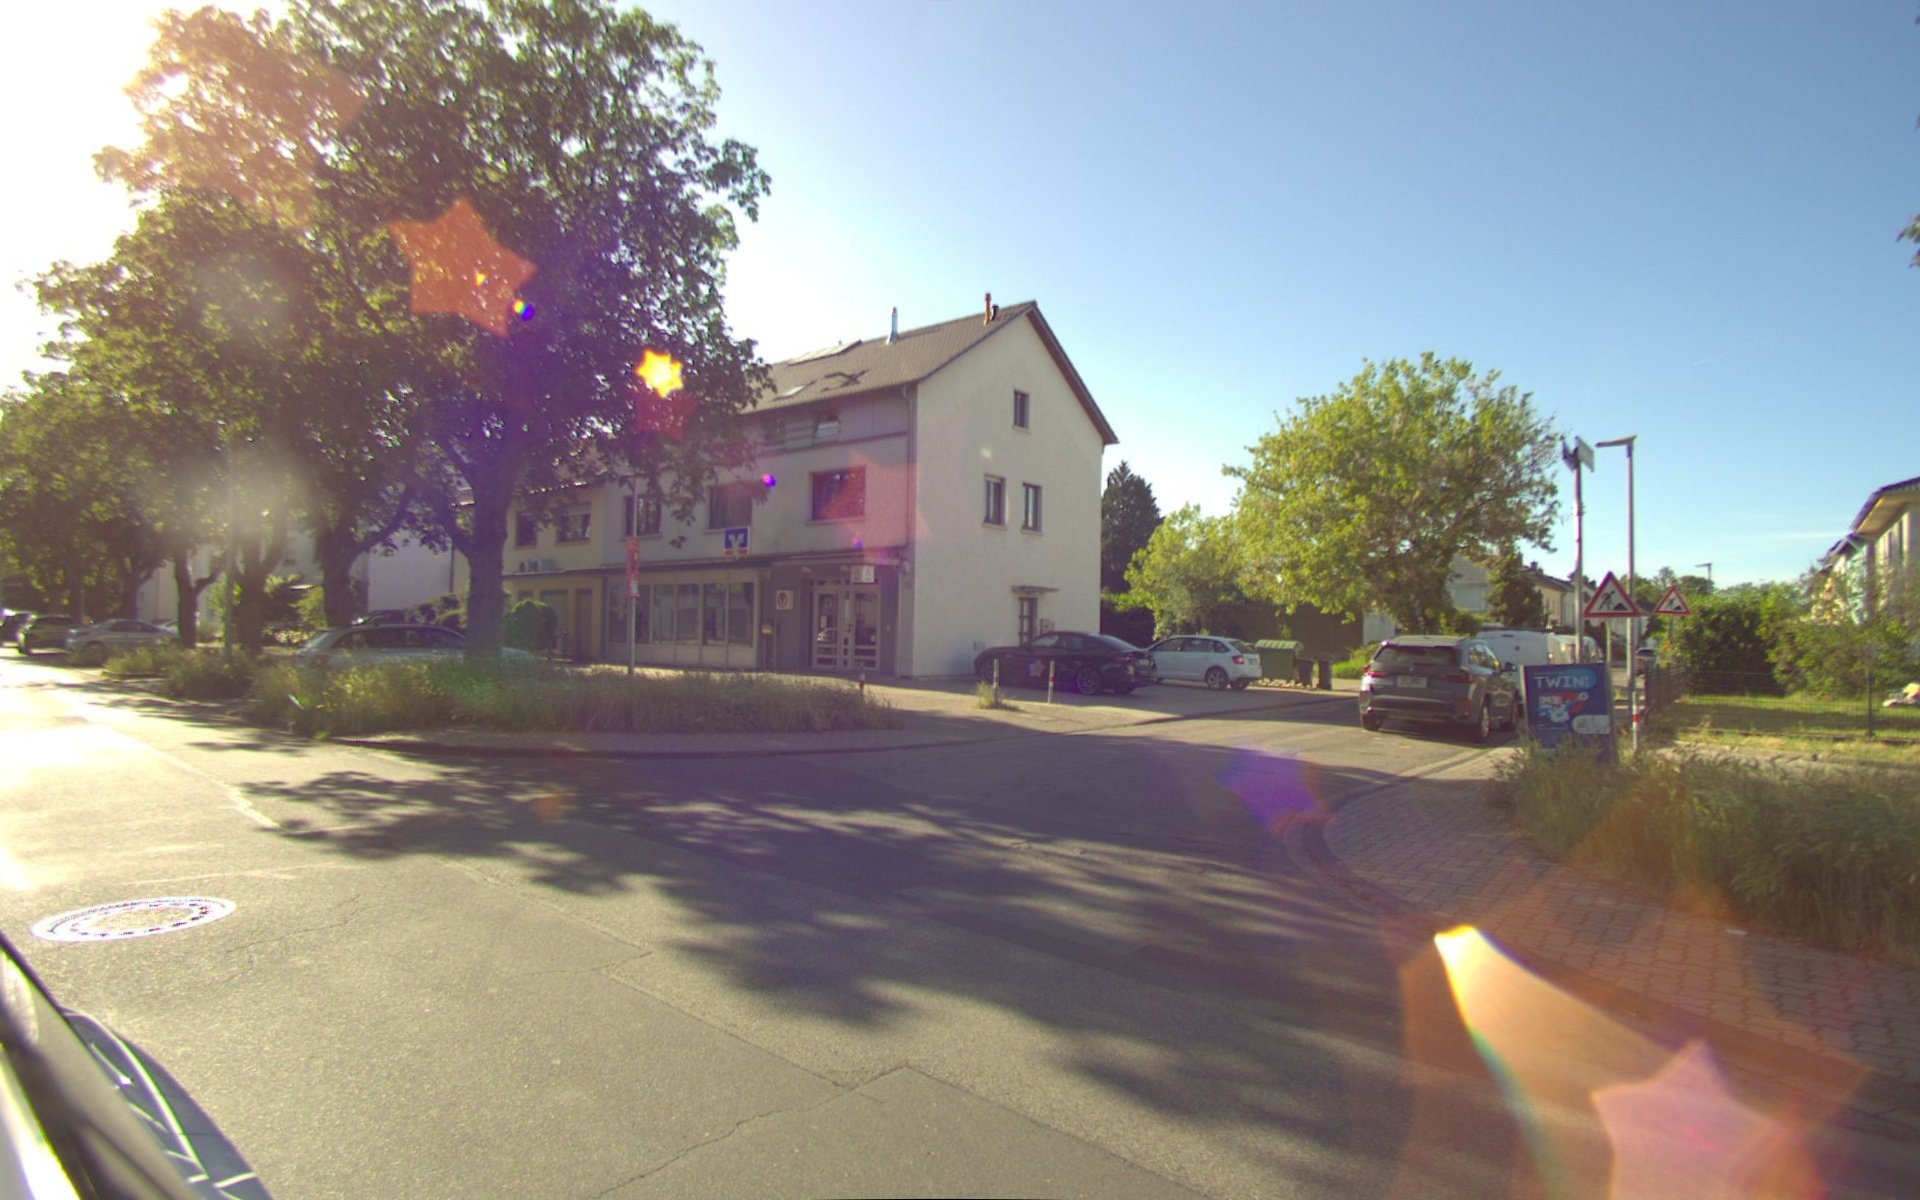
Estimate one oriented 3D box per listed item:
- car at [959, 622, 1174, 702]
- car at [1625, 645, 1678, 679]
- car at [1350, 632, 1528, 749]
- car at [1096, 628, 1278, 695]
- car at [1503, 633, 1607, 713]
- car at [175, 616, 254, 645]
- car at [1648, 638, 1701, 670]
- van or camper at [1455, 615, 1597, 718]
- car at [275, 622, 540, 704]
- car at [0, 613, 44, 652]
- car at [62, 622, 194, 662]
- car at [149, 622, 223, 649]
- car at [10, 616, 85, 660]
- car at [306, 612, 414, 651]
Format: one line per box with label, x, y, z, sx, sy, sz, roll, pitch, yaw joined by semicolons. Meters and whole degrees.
car;2.531;1.432;24.721;4.902;1.575;1.975;2;-1;38
car;32.953;2.905;48.283;1.995;1.496;4.852;0;-2;34
car;8.080;1.432;16.886;1.996;1.650;3.951;0;-3;36
car;6.387;1.682;28.751;4.662;1.539;1.854;2;-1;38
car;15.610;1.810;26.452;1.996;1.844;3.951;0;-1;36
car;-50.447;2.032;68.495;1.999;1.696;3.945;0;1;41
car;41.443;3.099;58.645;1.999;1.593;4.842;1;0;41
van or camper;12.721;1.421;22.596;1.998;2.029;4.625;0;-2;40
car;-11.124;1.188;20.616;1.999;1.426;4.335;0;0;41
car;-44.886;1.526;48.028;4.057;1.746;1.790;-1;-3;45
car;-31.666;1.562;38.593;1.622;1.333;3.651;0;0;36
car;-56.240;2.555;73.588;1.999;1.696;3.945;0;1;41
car;-36.493;1.471;40.443;3.696;1.550;1.971;0;1;44
car;-26.322;1.391;44.439;3.721;1.577;1.692;4;-3;-45
